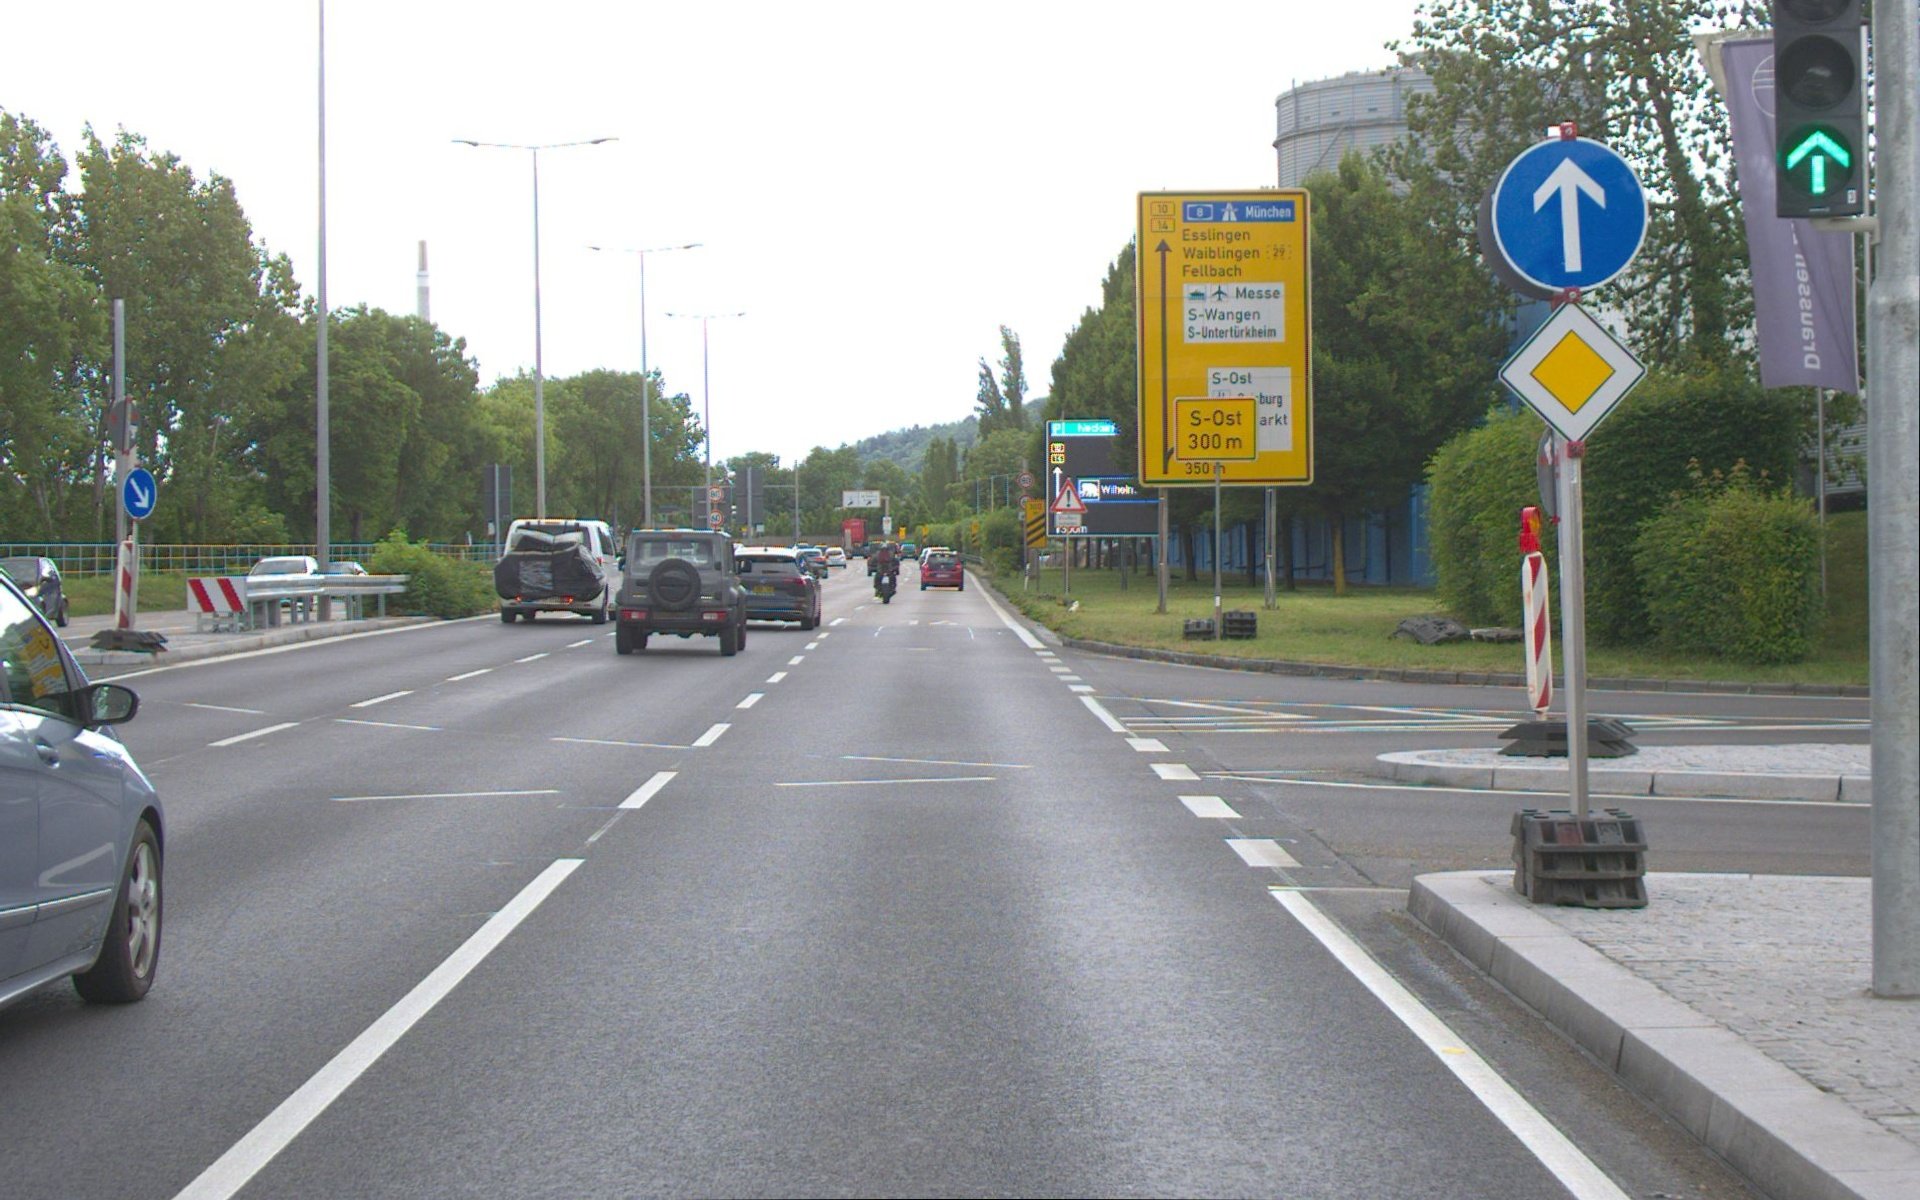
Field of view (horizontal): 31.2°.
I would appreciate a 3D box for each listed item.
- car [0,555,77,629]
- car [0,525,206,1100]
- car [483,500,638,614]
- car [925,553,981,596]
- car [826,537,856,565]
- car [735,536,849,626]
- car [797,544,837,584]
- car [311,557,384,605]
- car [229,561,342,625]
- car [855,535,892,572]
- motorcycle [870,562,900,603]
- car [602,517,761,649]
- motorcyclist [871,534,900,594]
[{"bbox_3d":[-19.828,-0.194,72.937,1.473,1.458,2.737,2,1,-1],"label":"car"},{"bbox_3d":[-3.444,0.551,9.875,1.710,1.525,4.001,2,1,-1],"label":"car"},{"bbox_3d":[-7.190,-0.813,62.330,2.214,1.919,5.003,2,1,0],"label":"car"},{"bbox_3d":[-0.287,-1.003,133.723,1.993,1.546,4.001,2,1,-2],"label":"car"},{"bbox_3d":[-8.893,-3.676,257.265,1.993,2.007,4.000,2,1,0],"label":"car"},{"bbox_3d":[-2.951,-0.366,61.114,1.840,1.459,4.000,2,1,-1],"label":"car"},{"bbox_3d":[-7.708,-1.938,185.469,1.993,2.007,4.000,2,1,0],"label":"car"},{"bbox_3d":[-22.982,-0.720,129.068,1.993,1.634,4.000,2,1,0],"label":"car"},{"bbox_3d":[-17.441,-0.199,89.075,1.993,1.488,4.805,2,1,-1],"label":"car"},{"bbox_3d":[-5.034,-2.719,200.556,1.993,2.007,4.000,2,1,0],"label":"car"},{"bbox_3d":[-2.055,-0.487,93.837,0.706,1.036,2.027,2,1,1],"label":"motorcycle"},{"bbox_3d":[-3.803,-0.275,47.491,1.907,1.678,4.001,2,1,-1],"label":"car"},{"bbox_3d":[-2.032,-0.986,93.885,0.685,1.604,0.845,2,1,1],"label":"motorcyclist"}]
